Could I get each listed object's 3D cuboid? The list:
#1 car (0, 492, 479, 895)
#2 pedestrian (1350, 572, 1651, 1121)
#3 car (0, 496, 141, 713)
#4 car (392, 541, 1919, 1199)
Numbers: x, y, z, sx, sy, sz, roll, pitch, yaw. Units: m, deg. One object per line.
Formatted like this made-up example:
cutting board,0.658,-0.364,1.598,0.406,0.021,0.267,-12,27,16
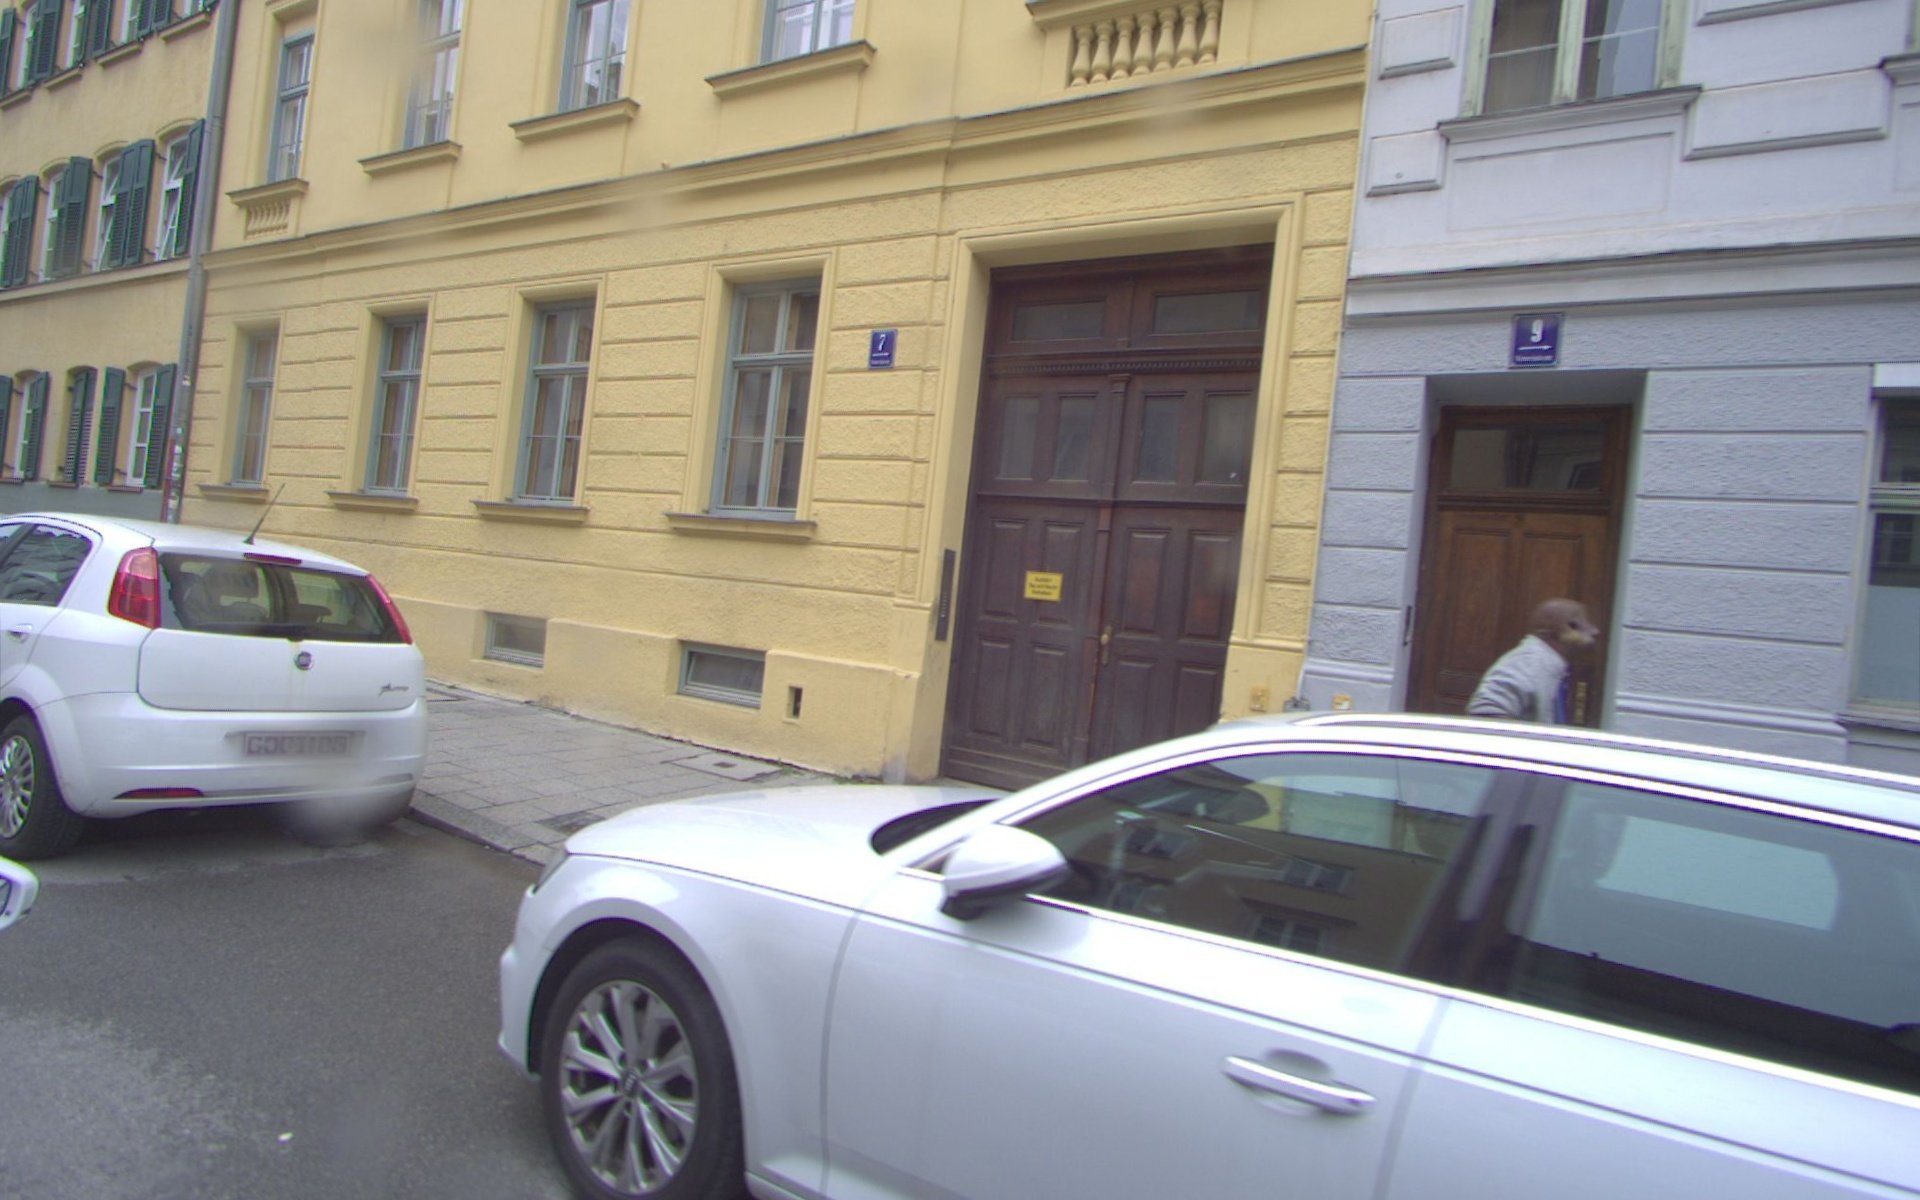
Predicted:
car,-4.623,0.269,5.522,3.697,1.528,1.627,7,-1,29
pedestrian,2.146,0.898,4.064,0.791,1.884,0.703,7,0,28
car,-8.792,-0.196,8.011,4.508,1.528,1.820,7,-1,28
car,0.869,0.883,2.344,4.393,1.528,1.720,6,-1,30
